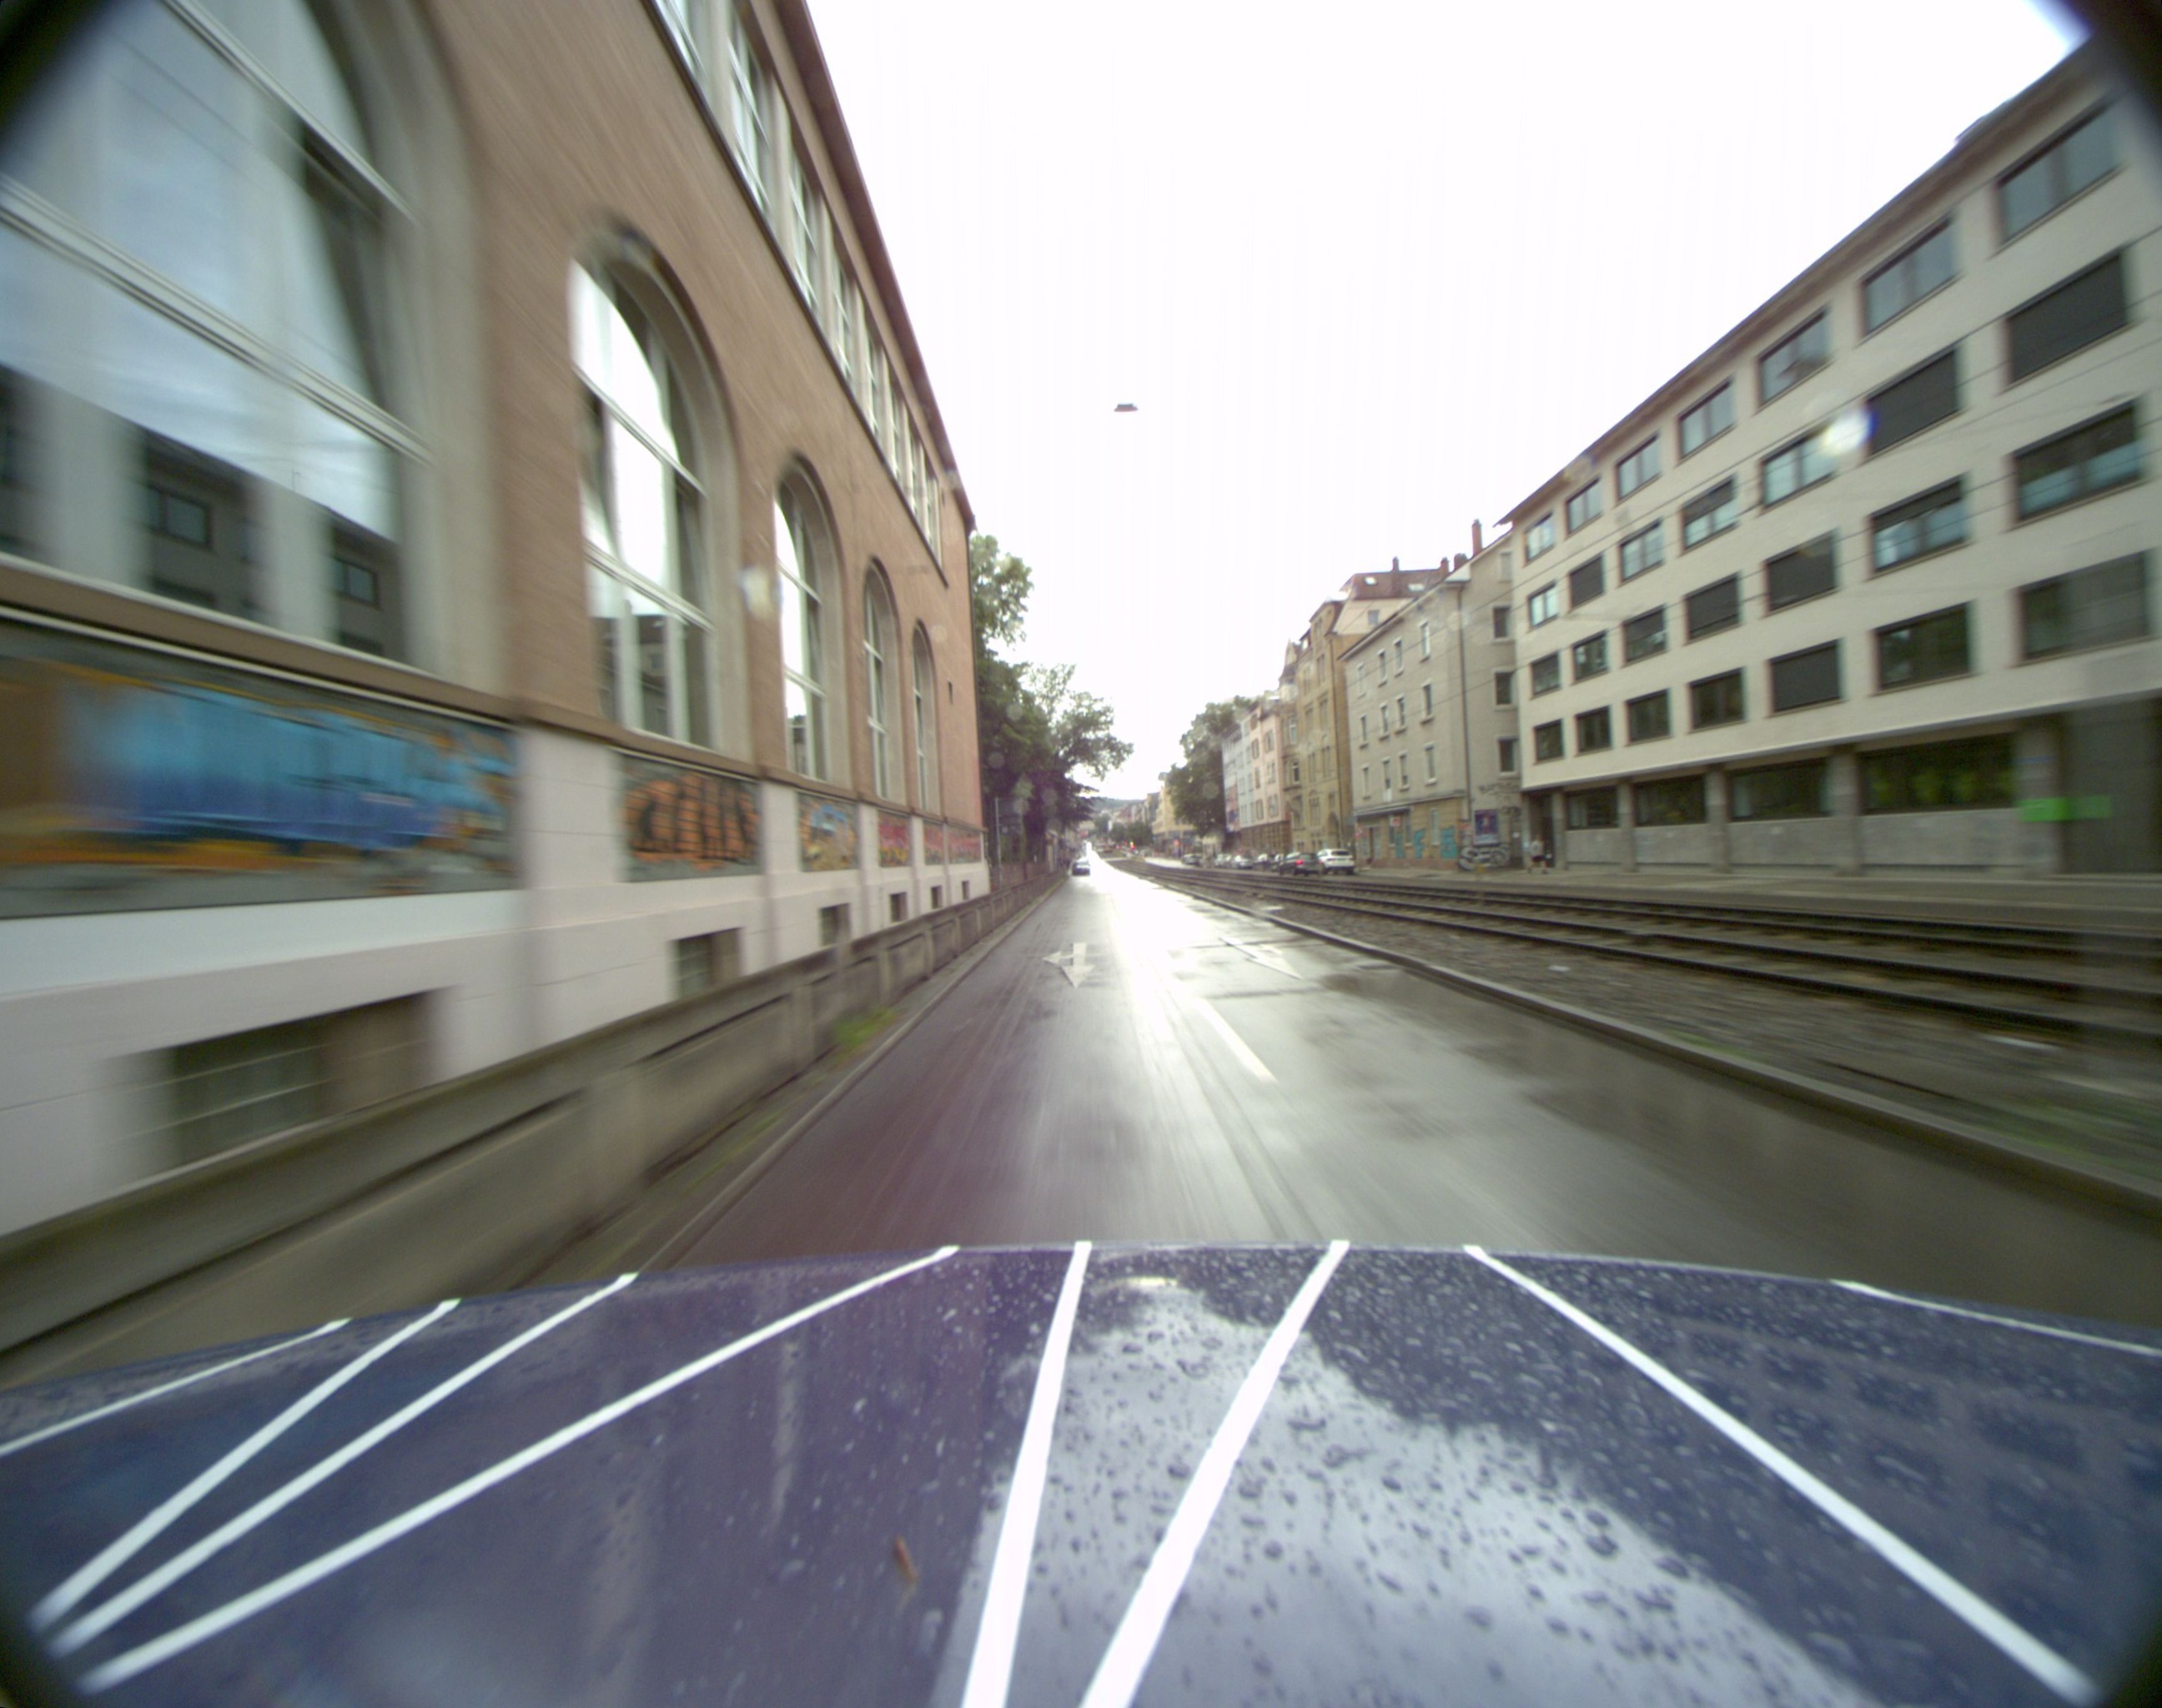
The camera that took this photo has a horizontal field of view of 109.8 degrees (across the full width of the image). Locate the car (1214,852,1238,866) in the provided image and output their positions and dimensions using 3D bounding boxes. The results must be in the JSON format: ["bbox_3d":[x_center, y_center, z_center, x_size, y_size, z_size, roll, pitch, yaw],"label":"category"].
[{"bbox_3d":[16.748,0.552,87.780,1.843,1.596,4.227,-1,0,-1],"label":"car"}]

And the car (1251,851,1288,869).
[{"bbox_3d":[16.336,0.489,66.212,1.998,1.447,5.021,0,0,0],"label":"car"}]

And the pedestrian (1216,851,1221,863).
[{"bbox_3d":[20.695,0.445,114.451,0.651,1.858,0.536,-2,0,4],"label":"pedestrian"}]

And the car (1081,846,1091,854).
[{"bbox_3d":[1.028,-0.829,163.188,1.998,1.674,4.124,-3,0,1],"label":"car"}]

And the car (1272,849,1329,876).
[{"bbox_3d":[13.106,0.469,45.612,1.945,1.527,4.347,0,0,-3],"label":"car"}]

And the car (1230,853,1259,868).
[{"bbox_3d":[16.472,0.636,76.896,1.998,1.389,5.022,0,0,1],"label":"car"}]

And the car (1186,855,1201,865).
[{"bbox_3d":[17.243,0.883,116.533,1.842,1.532,4.228,-1,0,1],"label":"car"}]

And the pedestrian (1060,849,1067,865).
[{"bbox_3d":[-2.172,0.363,94.440,0.765,1.902,0.588,-3,1,-1],"label":"pedestrian"}]

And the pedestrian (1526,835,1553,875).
[{"bbox_3d":[19.395,0.037,32.145,0.548,1.603,0.798,-6,1,3],"label":"pedestrian"}]

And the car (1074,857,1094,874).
[{"bbox_3d":[0.335,1.084,74.615,1.788,1.521,4.244,-3,0,1],"label":"car"}]

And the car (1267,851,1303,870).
[{"bbox_3d":[16.314,0.512,61.020,1.741,1.447,4.170,0,0,0],"label":"car"}]

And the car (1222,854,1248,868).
[{"bbox_3d":[16.586,0.743,82.109,1.843,1.389,4.265,-1,0,-1],"label":"car"}]

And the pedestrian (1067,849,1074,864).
[{"bbox_3d":[-1.306,0.338,94.482,0.716,1.879,0.599,-3,1,-1],"label":"pedestrian"}]

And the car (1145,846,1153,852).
[{"bbox_3d":[20.432,-1.636,227.564,1.998,1.674,4.000,-3,0,1],"label":"car"}]

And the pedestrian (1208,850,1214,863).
[{"bbox_3d":[19.563,0.386,114.316,0.809,1.858,0.536,-2,0,4],"label":"pedestrian"}]

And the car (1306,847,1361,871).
[{"bbox_3d":[16.199,0.293,49.066,1.998,1.527,4.748,0,0,0],"label":"car"}]
